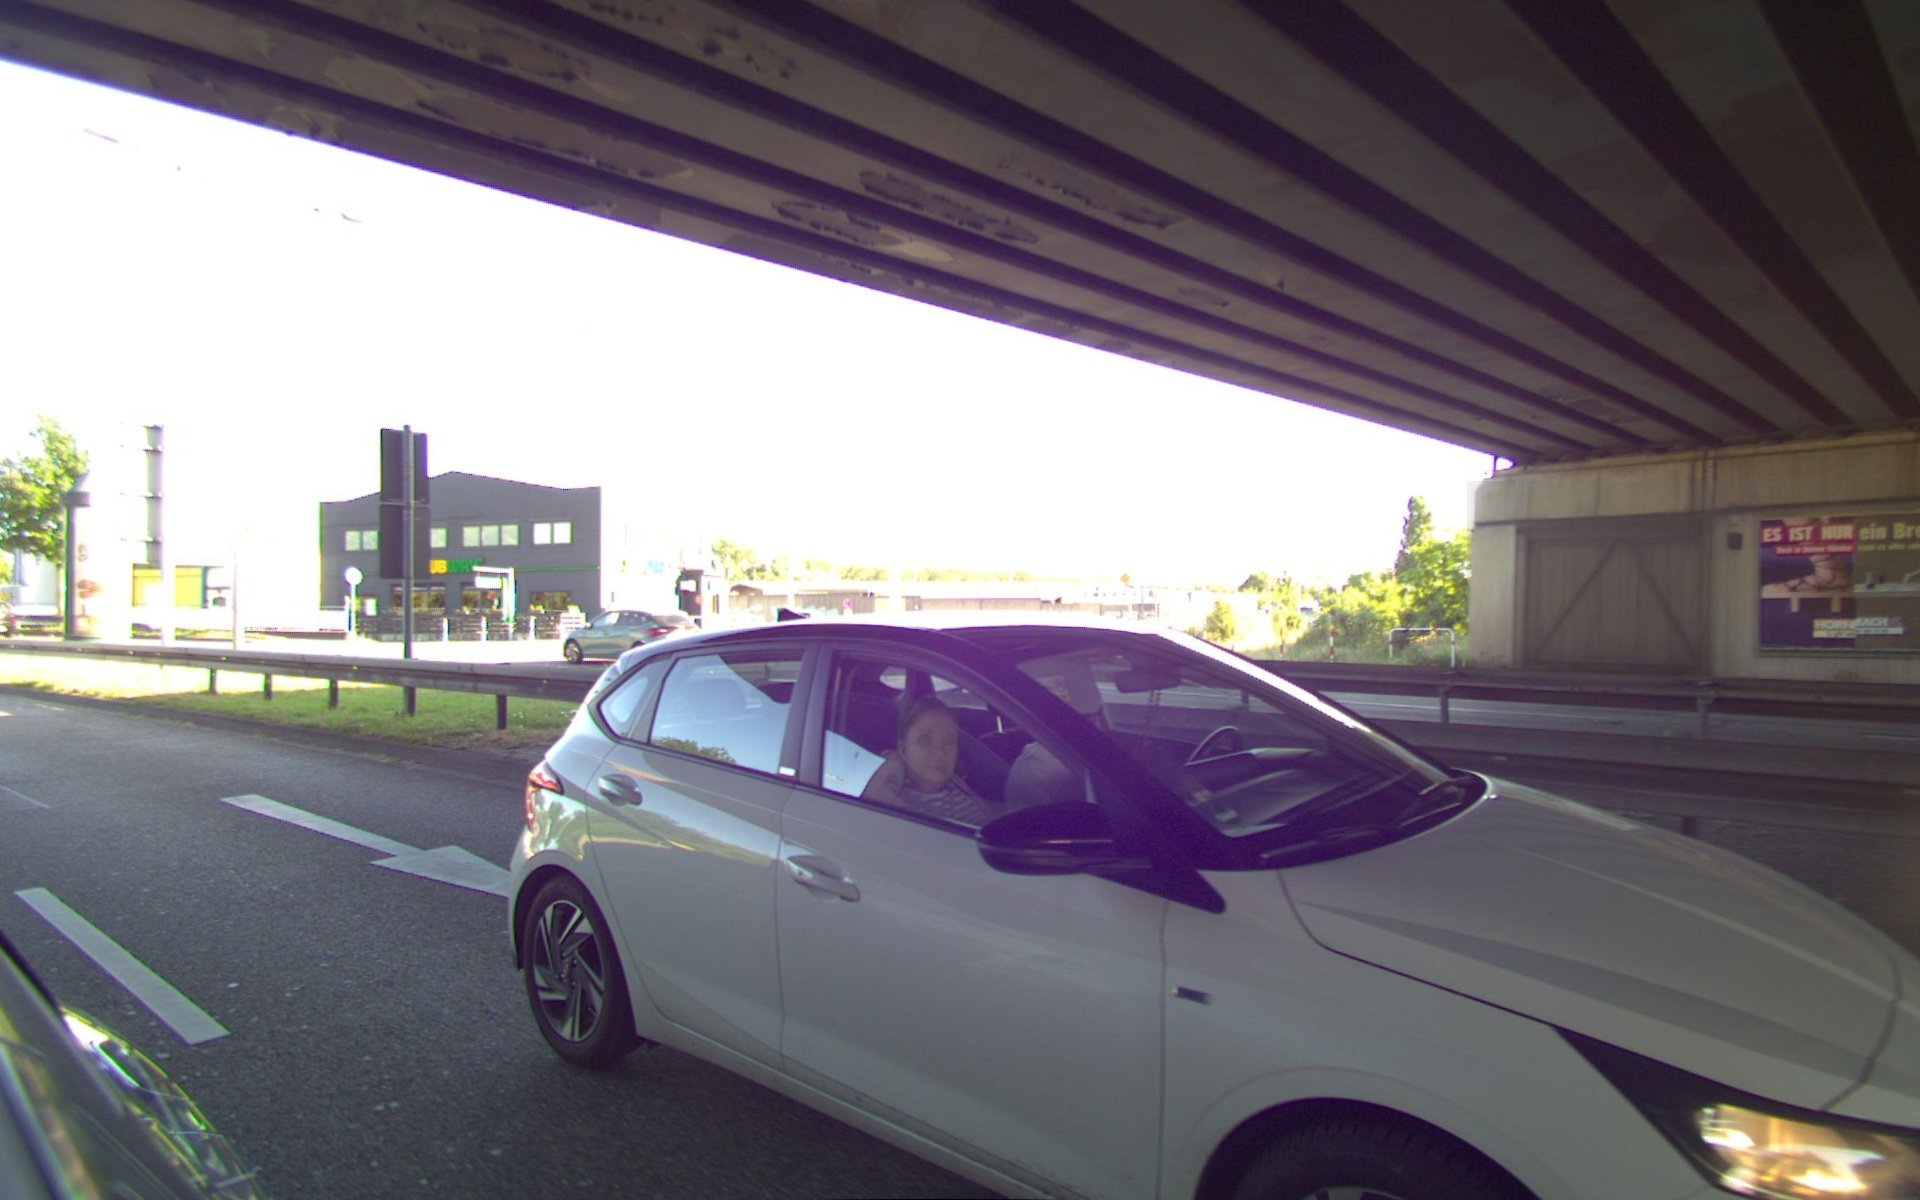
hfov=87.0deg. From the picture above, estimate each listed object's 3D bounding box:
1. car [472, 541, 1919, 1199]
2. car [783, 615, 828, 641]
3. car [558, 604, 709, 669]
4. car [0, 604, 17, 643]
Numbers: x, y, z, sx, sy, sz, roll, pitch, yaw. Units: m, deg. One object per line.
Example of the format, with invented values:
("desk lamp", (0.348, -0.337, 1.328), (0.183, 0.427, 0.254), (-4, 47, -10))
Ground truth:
("car", (0.392, 0.674, 2.838), (3.988, 1.491, 1.715), (0, 0, 40))
("car", (-8.554, 1.593, 56.337), (1.805, 1.291, 4.180), (1, -3, 1))
("car", (-8.294, 0.904, 25.631), (3.813, 1.531, 1.606), (-1, -2, 33))
("car", (-41.302, 0.976, 41.666), (4.146, 1.600, 1.820), (-1, -2, 17))
